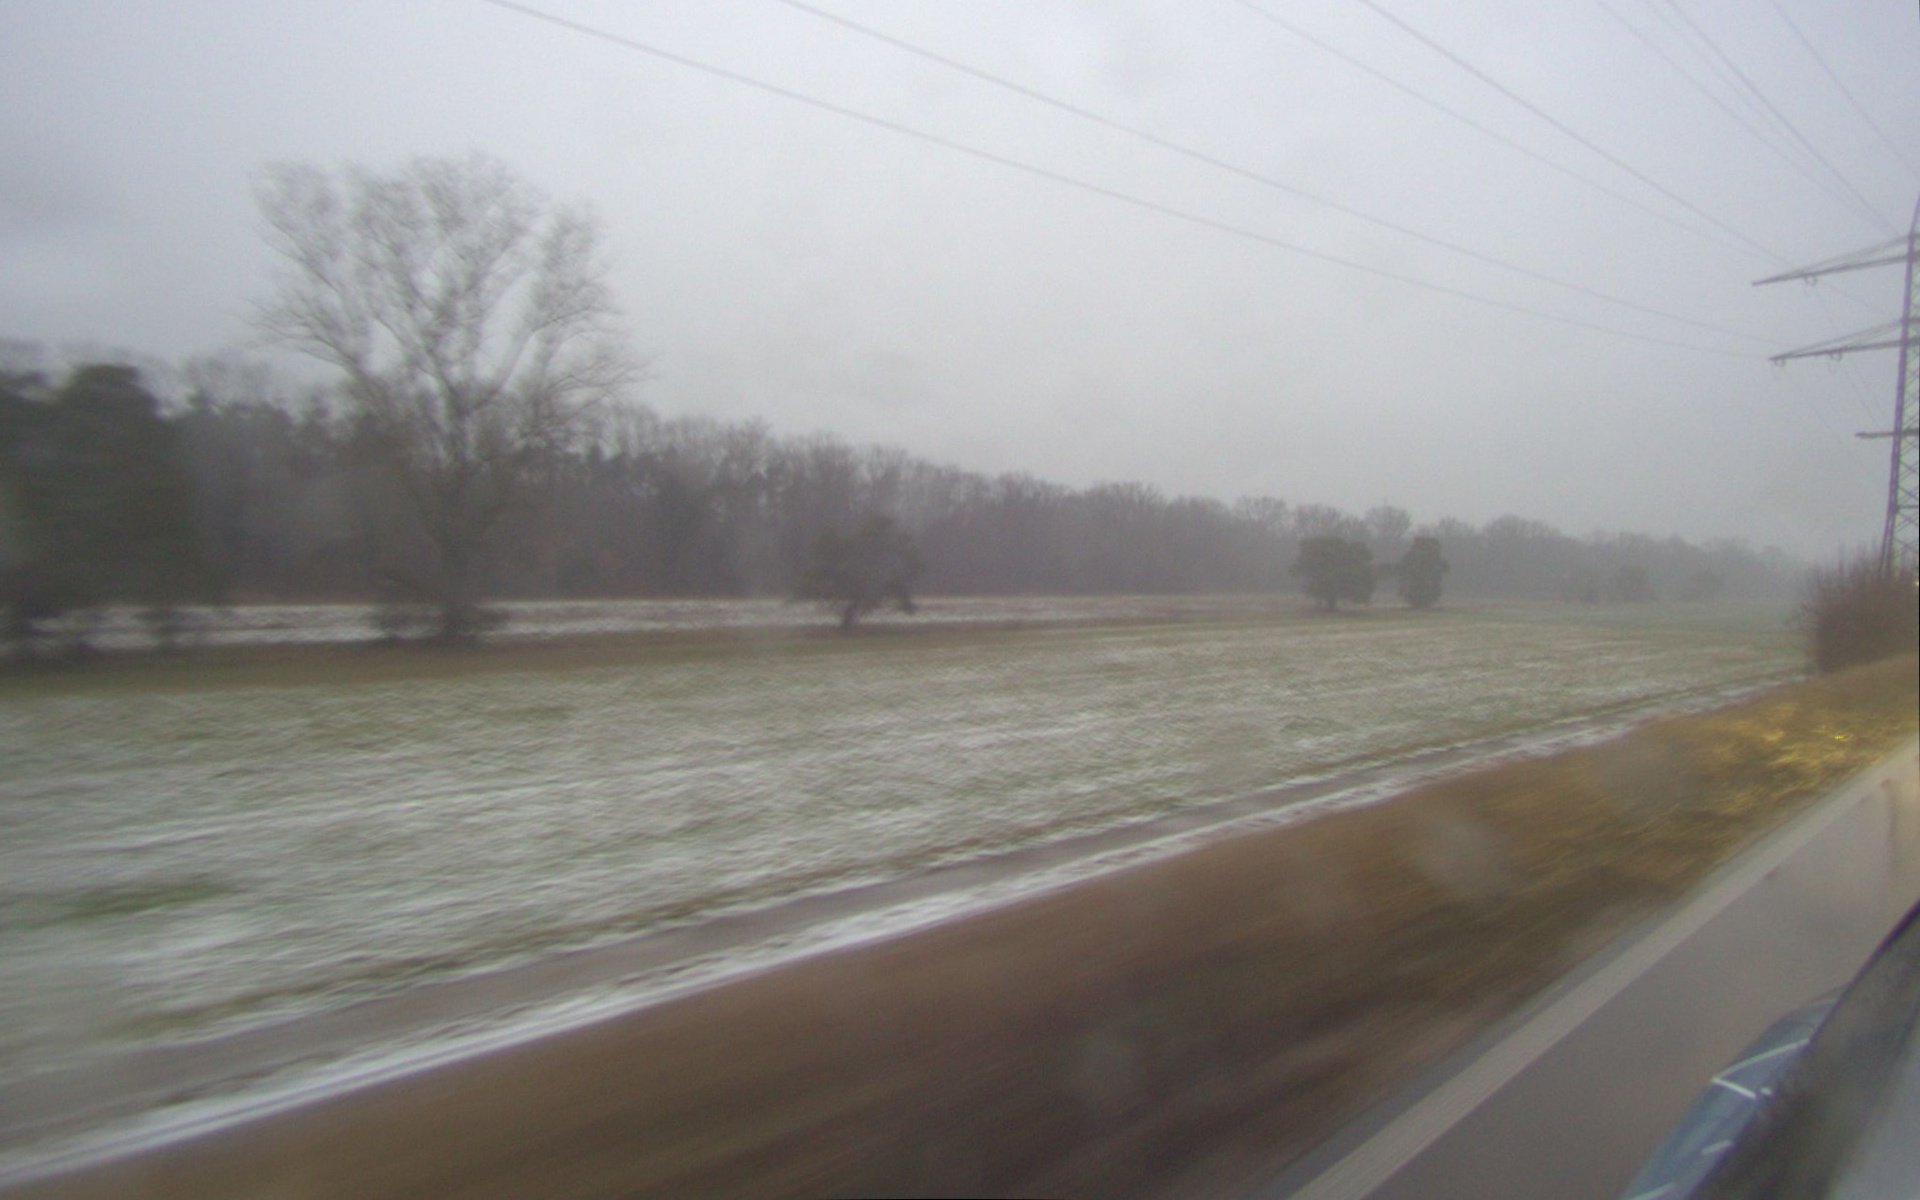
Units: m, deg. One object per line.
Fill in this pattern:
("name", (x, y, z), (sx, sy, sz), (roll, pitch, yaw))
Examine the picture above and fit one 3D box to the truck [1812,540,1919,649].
("truck", (28.850, -0.197, 31.366), (7.720, 3.015, 2.538), (-1, 1, -41))
